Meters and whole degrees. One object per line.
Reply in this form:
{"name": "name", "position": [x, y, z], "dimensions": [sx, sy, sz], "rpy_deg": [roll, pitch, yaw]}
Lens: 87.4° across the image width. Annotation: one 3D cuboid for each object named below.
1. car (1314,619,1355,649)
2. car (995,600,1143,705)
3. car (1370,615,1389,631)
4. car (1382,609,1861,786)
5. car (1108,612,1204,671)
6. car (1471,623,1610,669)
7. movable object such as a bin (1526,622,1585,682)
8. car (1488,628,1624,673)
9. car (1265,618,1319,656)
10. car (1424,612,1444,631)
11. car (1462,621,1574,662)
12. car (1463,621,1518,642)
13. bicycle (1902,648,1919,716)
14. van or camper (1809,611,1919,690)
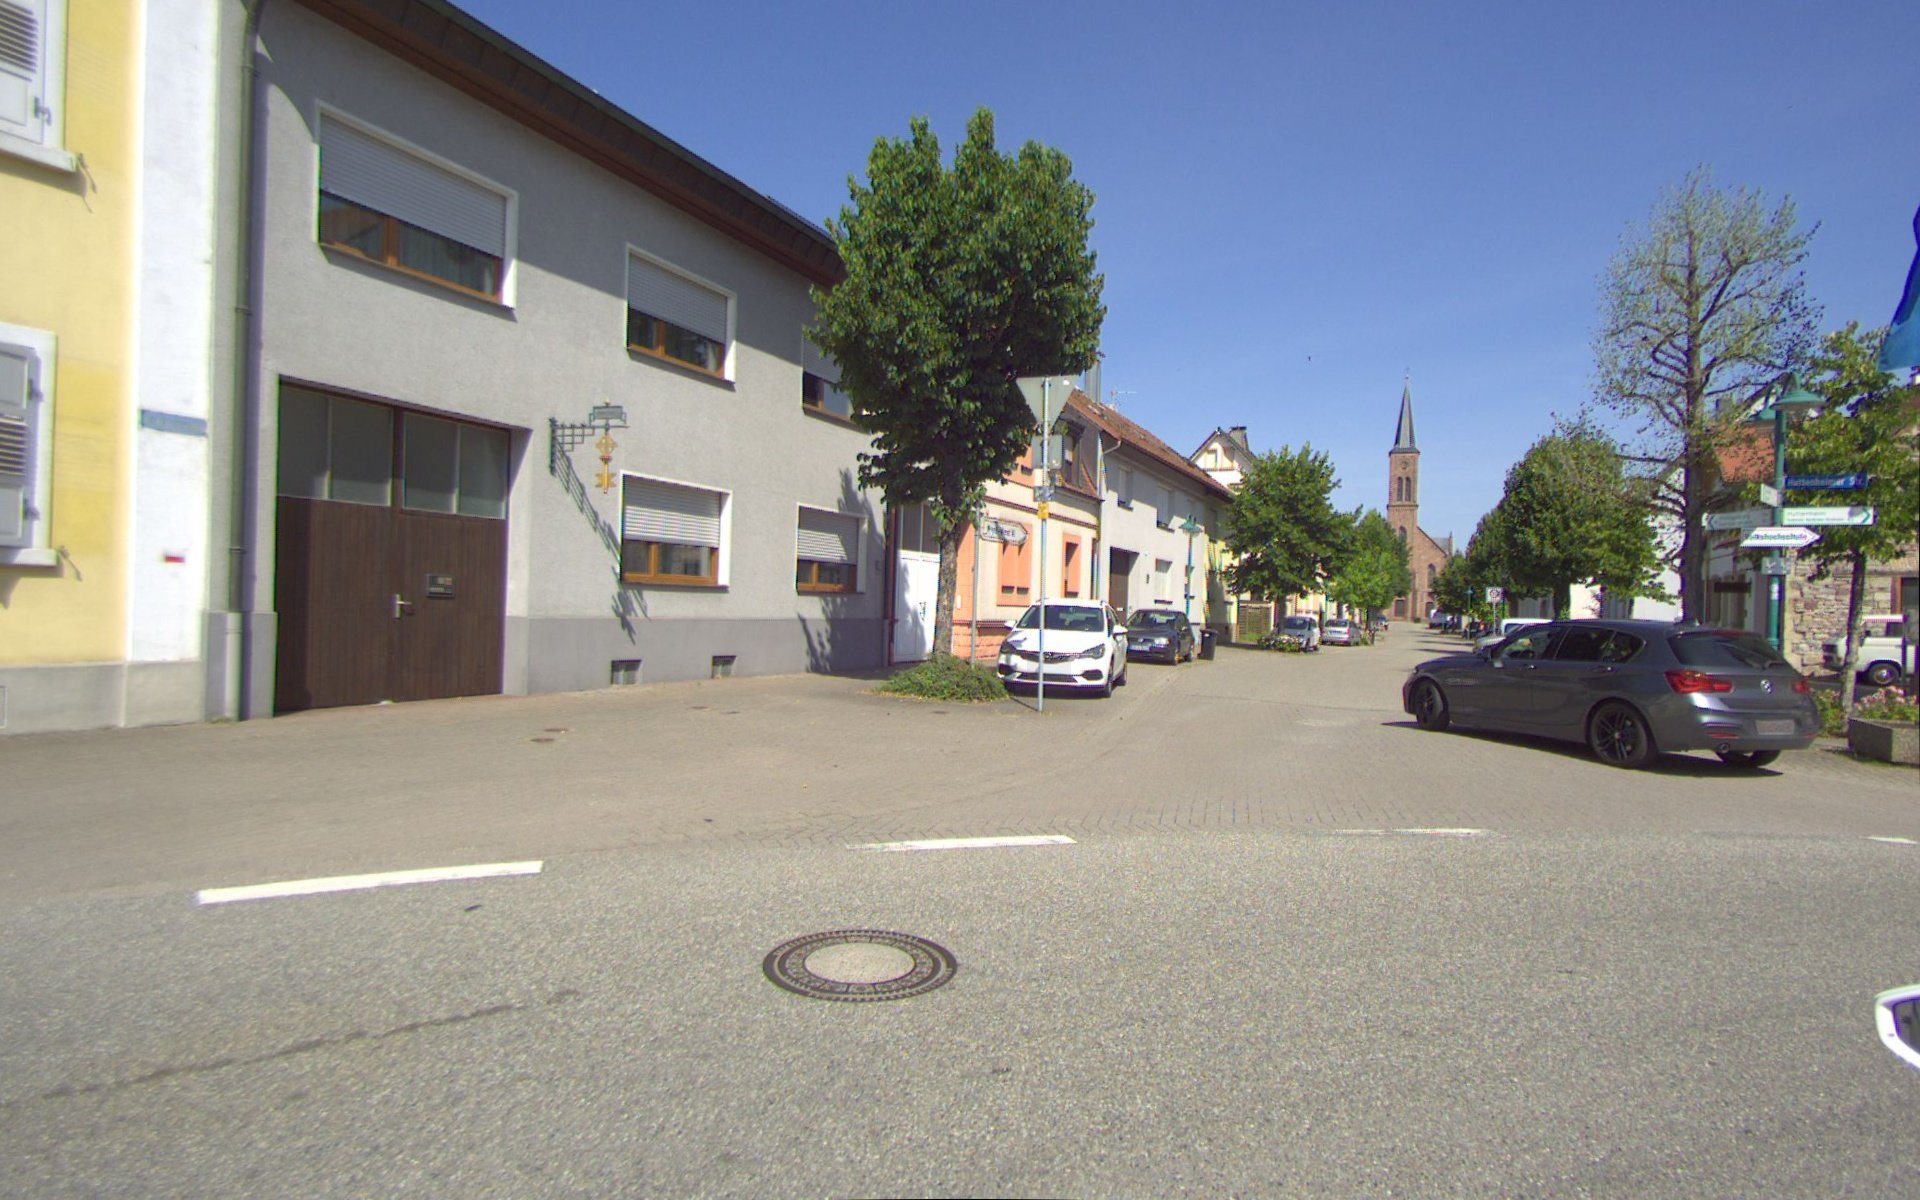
{"name": "car", "position": [20.822, 1.868, 56.021], "dimensions": [1.960, 1.483, 4.001], "rpy_deg": [2, 0, 19]}
{"name": "car", "position": [1.959, 0.778, 16.739], "dimensions": [1.817, 1.460, 4.515], "rpy_deg": [1, 0, 14]}
{"name": "car", "position": [50.246, 2.697, 120.281], "dimensions": [1.961, 1.840, 3.999], "rpy_deg": [1, 0, 22]}
{"name": "car", "position": [6.822, 0.903, 11.011], "dimensions": [1.713, 1.394, 4.253], "rpy_deg": [3, 1, -16]}
{"name": "car", "position": [5.633, 1.101, 28.300], "dimensions": [1.951, 1.460, 5.212], "rpy_deg": [1, 0, 19]}
{"name": "car", "position": [23.527, 1.830, 40.932], "dimensions": [4.728, 1.645, 1.998], "rpy_deg": [1, 0, 26]}
{"name": "movable object such as a bin", "position": [14.151, 1.229, 23.908], "dimensions": [1.170, 1.356, 0.788], "rpy_deg": [1, 0, 29]}
{"name": "car", "position": [20.739, 1.719, 35.153], "dimensions": [3.863, 1.362, 1.998], "rpy_deg": [1, 0, 26]}
{"name": "car", "position": [15.356, 1.671, 46.301], "dimensions": [1.962, 1.595, 3.998], "rpy_deg": [1, -1, 24]}
{"name": "car", "position": [62.370, 2.839, 132.193], "dimensions": [2.210, 2.308, 4.499], "rpy_deg": [3, 0, 25]}
{"name": "car", "position": [24.147, 1.787, 43.662], "dimensions": [4.085, 1.589, 1.998], "rpy_deg": [1, 0, 26]}
{"name": "car", "position": [45.125, 2.645, 85.526], "dimensions": [3.923, 1.639, 1.999], "rpy_deg": [1, 0, 24]}
{"name": "bicycle", "position": [16.682, 1.417, 17.019], "dimensions": [0.584, 1.151, 1.746], "rpy_deg": [1, 0, 28]}
{"name": "van or camper", "position": [25.764, 1.362, 27.260], "dimensions": [3.933, 2.040, 1.994], "rpy_deg": [1, 0, 35]}
